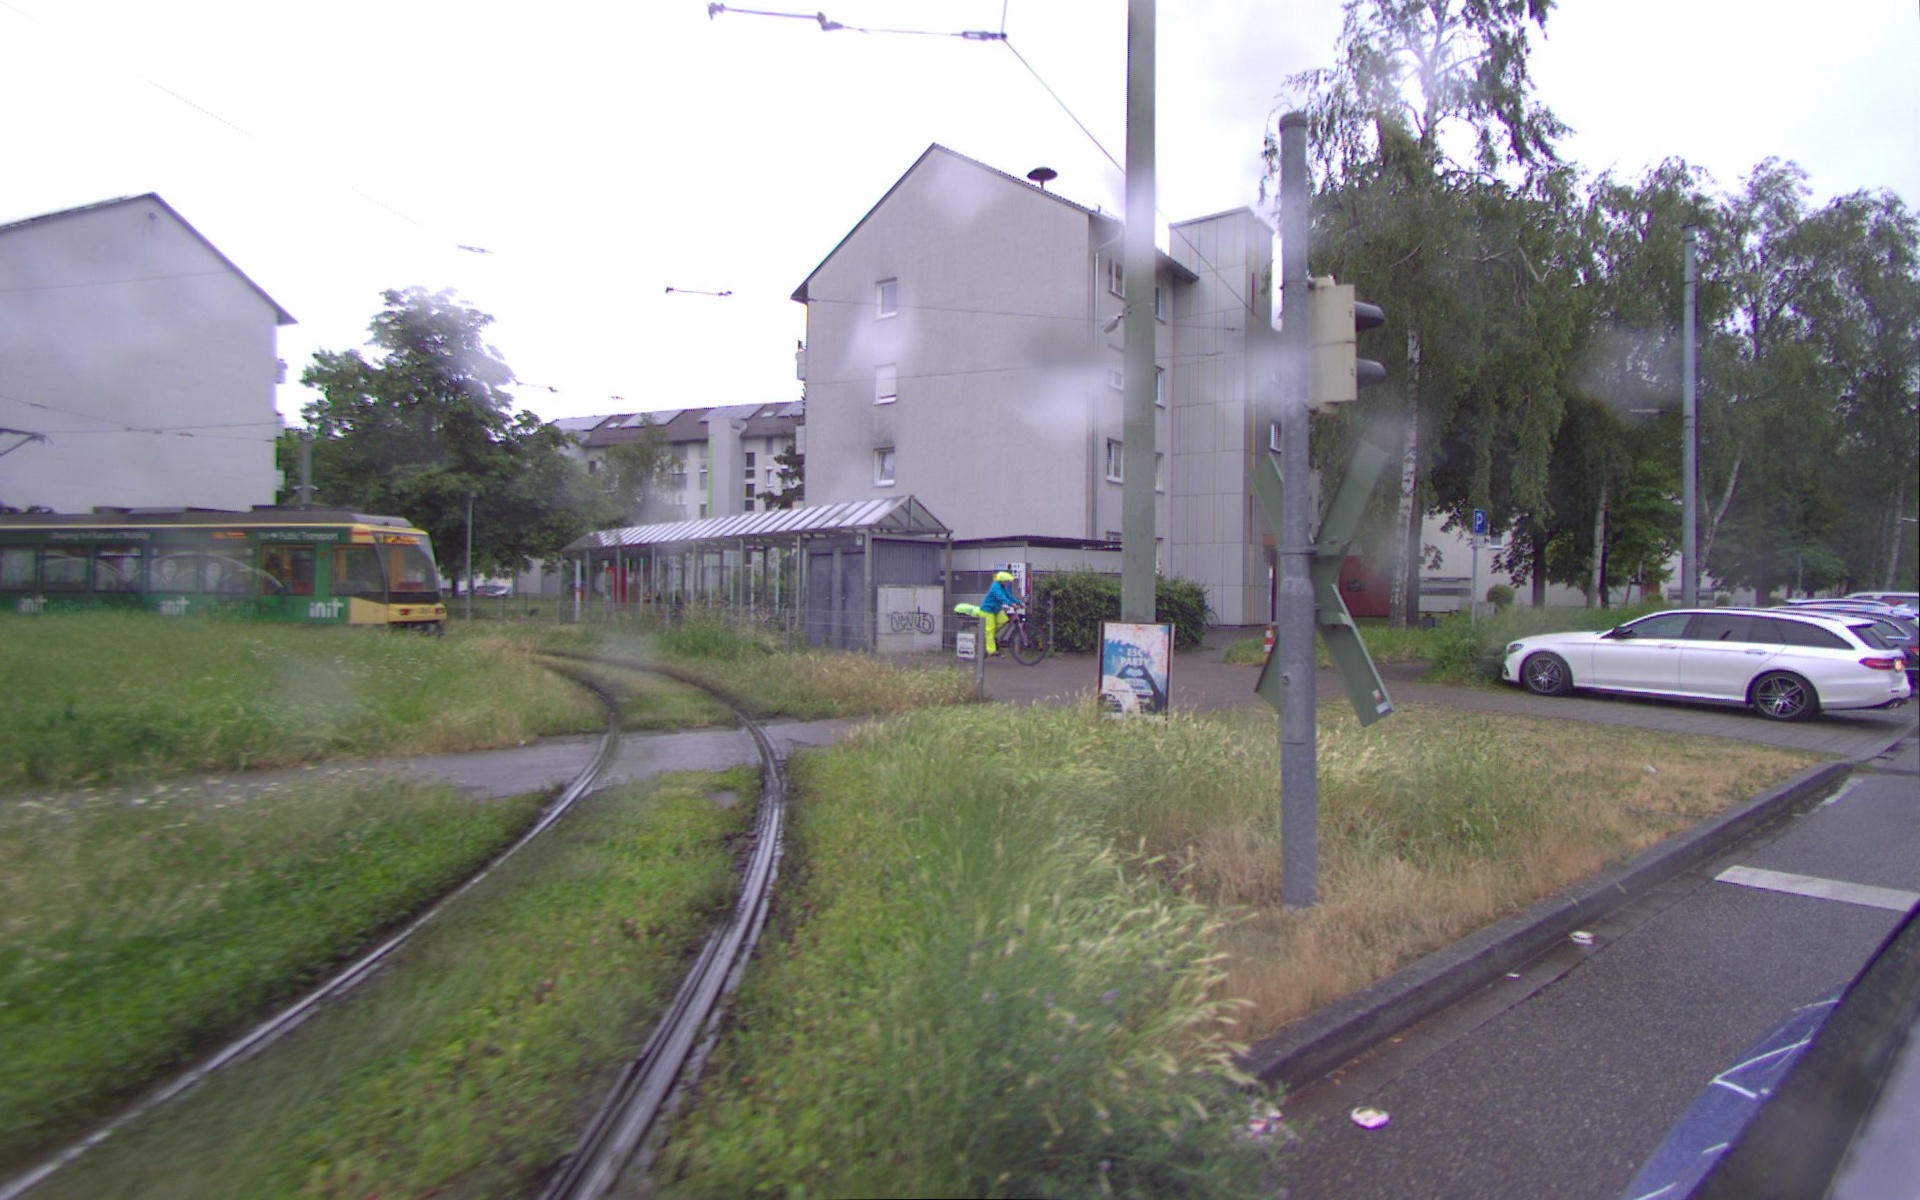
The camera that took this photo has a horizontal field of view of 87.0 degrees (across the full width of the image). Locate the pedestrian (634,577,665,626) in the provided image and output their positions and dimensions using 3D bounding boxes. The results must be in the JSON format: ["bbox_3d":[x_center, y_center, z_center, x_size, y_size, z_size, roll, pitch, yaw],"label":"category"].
[{"bbox_3d":[-10.228,0.039,33.364,0.776,1.593,0.635,0,-2,-42],"label":"pedestrian"}]

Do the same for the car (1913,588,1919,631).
[{"bbox_3d":[45.392,0.413,44.781,1.866,1.968,4.541,0,-1,-41],"label":"car"}]

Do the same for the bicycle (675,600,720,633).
[{"bbox_3d":[-7.603,0.474,29.332,1.215,0.959,0.377,0,-2,-38],"label":"bicycle"}]

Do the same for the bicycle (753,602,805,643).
[{"bbox_3d":[-4.444,0.546,24.829,1.215,0.968,0.377,0,-2,-38],"label":"bicycle"}]

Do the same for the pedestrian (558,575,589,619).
[{"bbox_3d":[-17.368,-0.123,45.527,1.165,1.908,1.056,-1,-1,-13],"label":"pedestrian"}]

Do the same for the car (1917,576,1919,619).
[{"bbox_3d":[48.399,-0.177,47.842,1.694,2.088,4.434,0,-1,-43],"label":"car"}]

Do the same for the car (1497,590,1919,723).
[{"bbox_3d":[10.909,0.676,14.979,1.964,1.476,4.838,0,2,-39],"label":"car"}]

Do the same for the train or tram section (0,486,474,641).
[{"bbox_3d":[-20.042,-0.871,26.720,14.514,3.636,2.703,0,-1,13],"label":"train or tram section"}]

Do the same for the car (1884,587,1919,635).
[{"bbox_3d":[41.196,0.452,41.593,1.866,1.968,4.541,0,-1,-41],"label":"car"}]

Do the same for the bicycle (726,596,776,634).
[{"bbox_3d":[-5.425,0.393,26.321,1.215,0.959,0.377,0,-2,-38],"label":"bicycle"}]

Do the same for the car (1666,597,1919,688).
[{"bbox_3d":[15.567,0.740,18.527,1.692,1.505,3.995,0,-1,-39],"label":"car"}]

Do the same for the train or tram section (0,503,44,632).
[{"bbox_3d":[-34.179,-0.950,29.022,14.479,3.636,2.710,0,-1,6],"label":"train or tram section"}]

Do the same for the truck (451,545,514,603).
[{"bbox_3d":[-31.800,-1.641,67.296,3.138,3.518,7.153,0,-1,-30],"label":"truck"}]

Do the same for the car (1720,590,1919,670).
[{"bbox_3d":[19.292,0.632,22.094,1.692,1.606,3.995,0,-1,-39],"label":"car"}]

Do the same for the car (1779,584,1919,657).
[{"bbox_3d":[24.925,0.526,27.041,1.692,1.870,4.440,0,-1,-39],"label":"car"}]

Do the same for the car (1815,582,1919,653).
[{"bbox_3d":[28.775,0.511,30.479,1.694,2.088,4.434,0,-1,-43],"label":"car"}]

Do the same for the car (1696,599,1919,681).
[{"bbox_3d":[17.450,0.766,20.333,1.692,1.505,3.995,0,-1,-39],"label":"car"}]

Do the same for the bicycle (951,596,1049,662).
[{"bbox_3d":[0.733,0.509,18.207,1.723,1.144,0.727,1,-1,7],"label":"bicycle"}]

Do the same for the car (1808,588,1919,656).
[{"bbox_3d":[26.802,0.609,28.335,1.692,1.870,4.440,0,-1,-39],"label":"car"}]

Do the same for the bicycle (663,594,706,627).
[{"bbox_3d":[-8.181,0.303,30.104,0.414,0.959,1.292,-2,-1,33],"label":"bicycle"}]

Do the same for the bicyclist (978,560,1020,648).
[{"bbox_3d":[0.703,0.073,18.212,0.687,1.536,0.723,1,-1,7],"label":"bicyclist"}]
